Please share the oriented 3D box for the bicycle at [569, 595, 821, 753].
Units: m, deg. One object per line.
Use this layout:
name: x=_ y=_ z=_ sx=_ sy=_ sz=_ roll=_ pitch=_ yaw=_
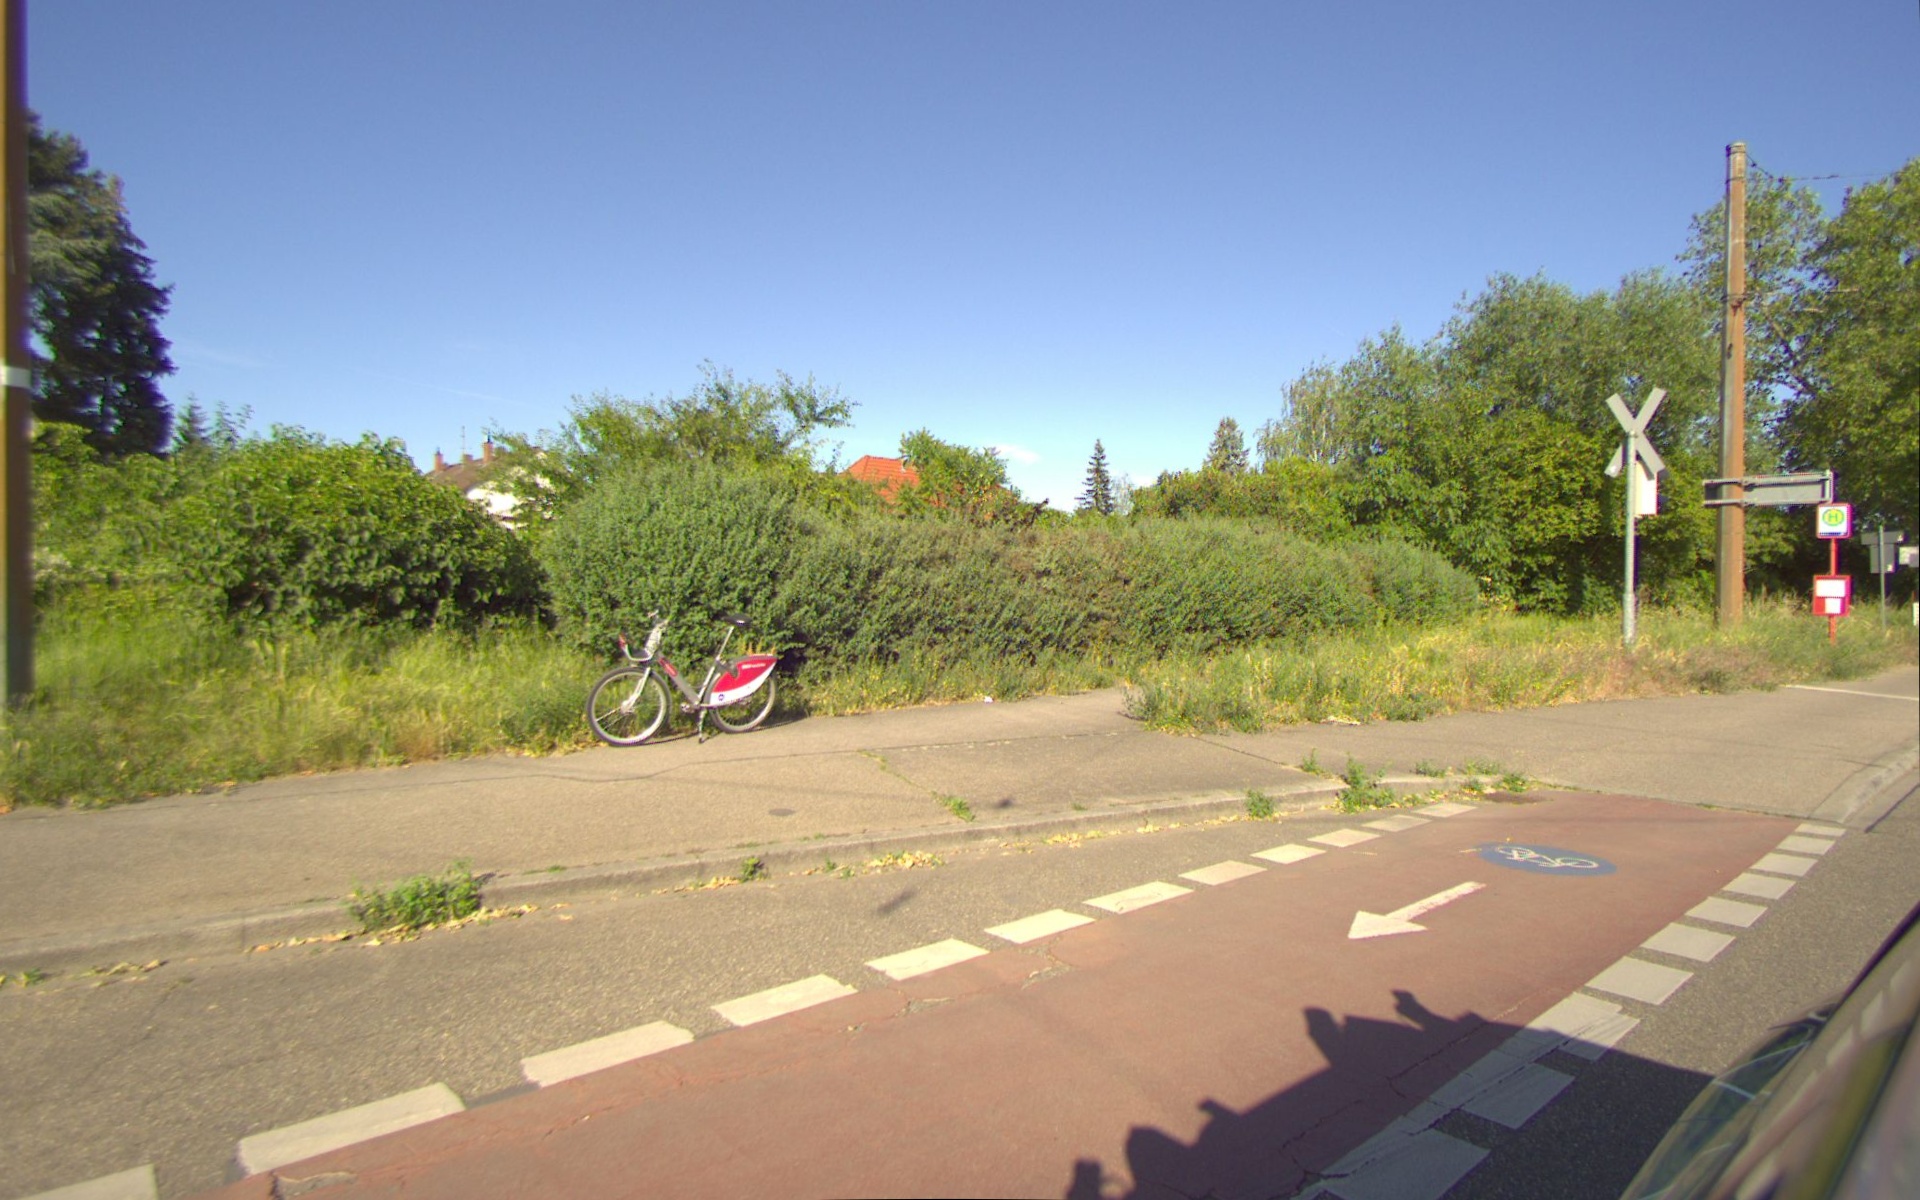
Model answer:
bicycle: x=-2.109 y=0.542 z=8.305 sx=2.059 sy=1.149 sz=0.366 roll=-1 pitch=2 yaw=-41
